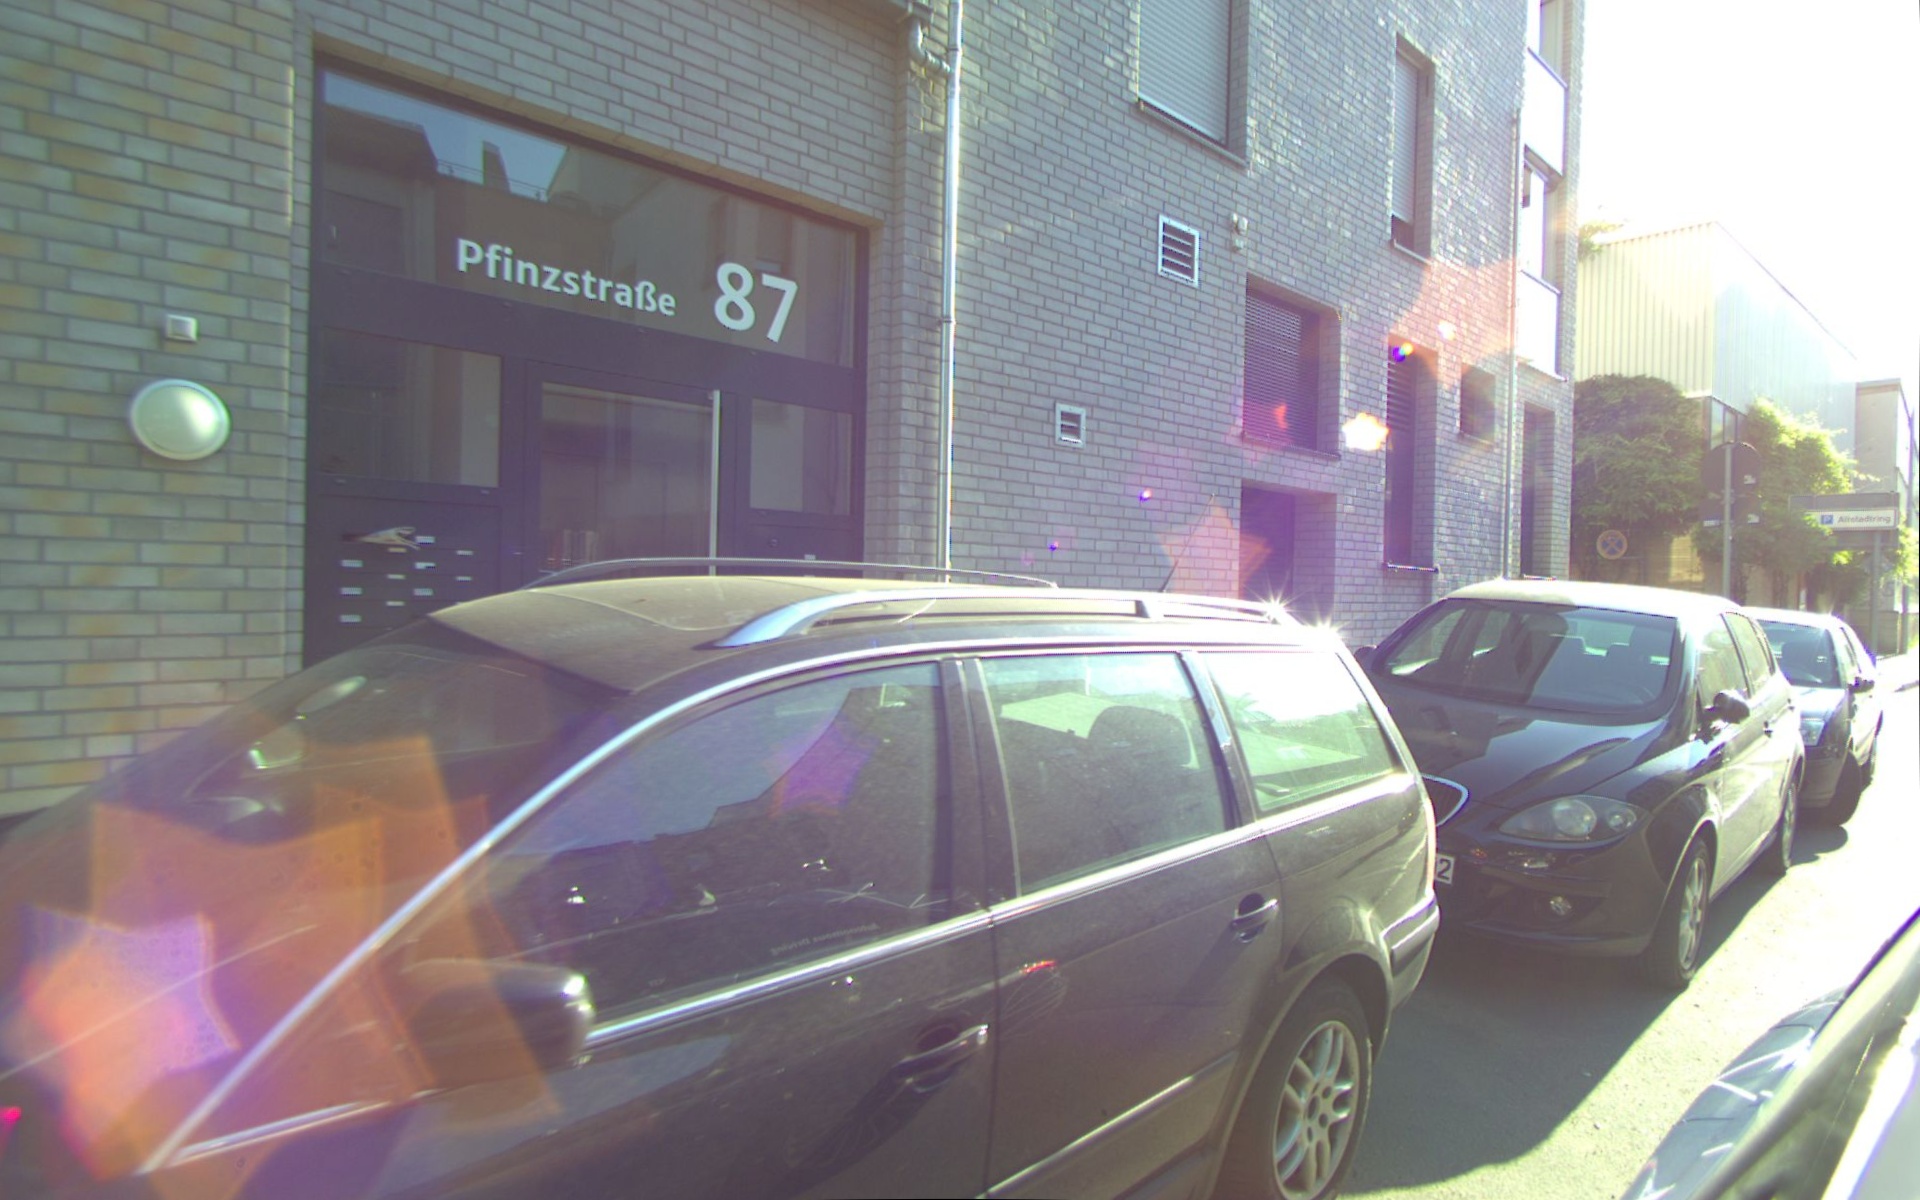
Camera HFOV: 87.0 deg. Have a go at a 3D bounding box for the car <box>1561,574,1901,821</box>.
[{"bbox_3d":[6.474,0.603,8.354,3.595,1.542,1.728,0,2,-45],"label":"car"}]

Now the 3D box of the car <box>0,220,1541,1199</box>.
[{"bbox_3d":[-0.636,0.563,1.981,4.756,1.755,1.670,0,2,-42],"label":"car"}]

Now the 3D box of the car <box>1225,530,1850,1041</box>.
[{"bbox_3d":[3.298,0.571,5.316,4.270,1.611,1.652,1,3,-44],"label":"car"}]
